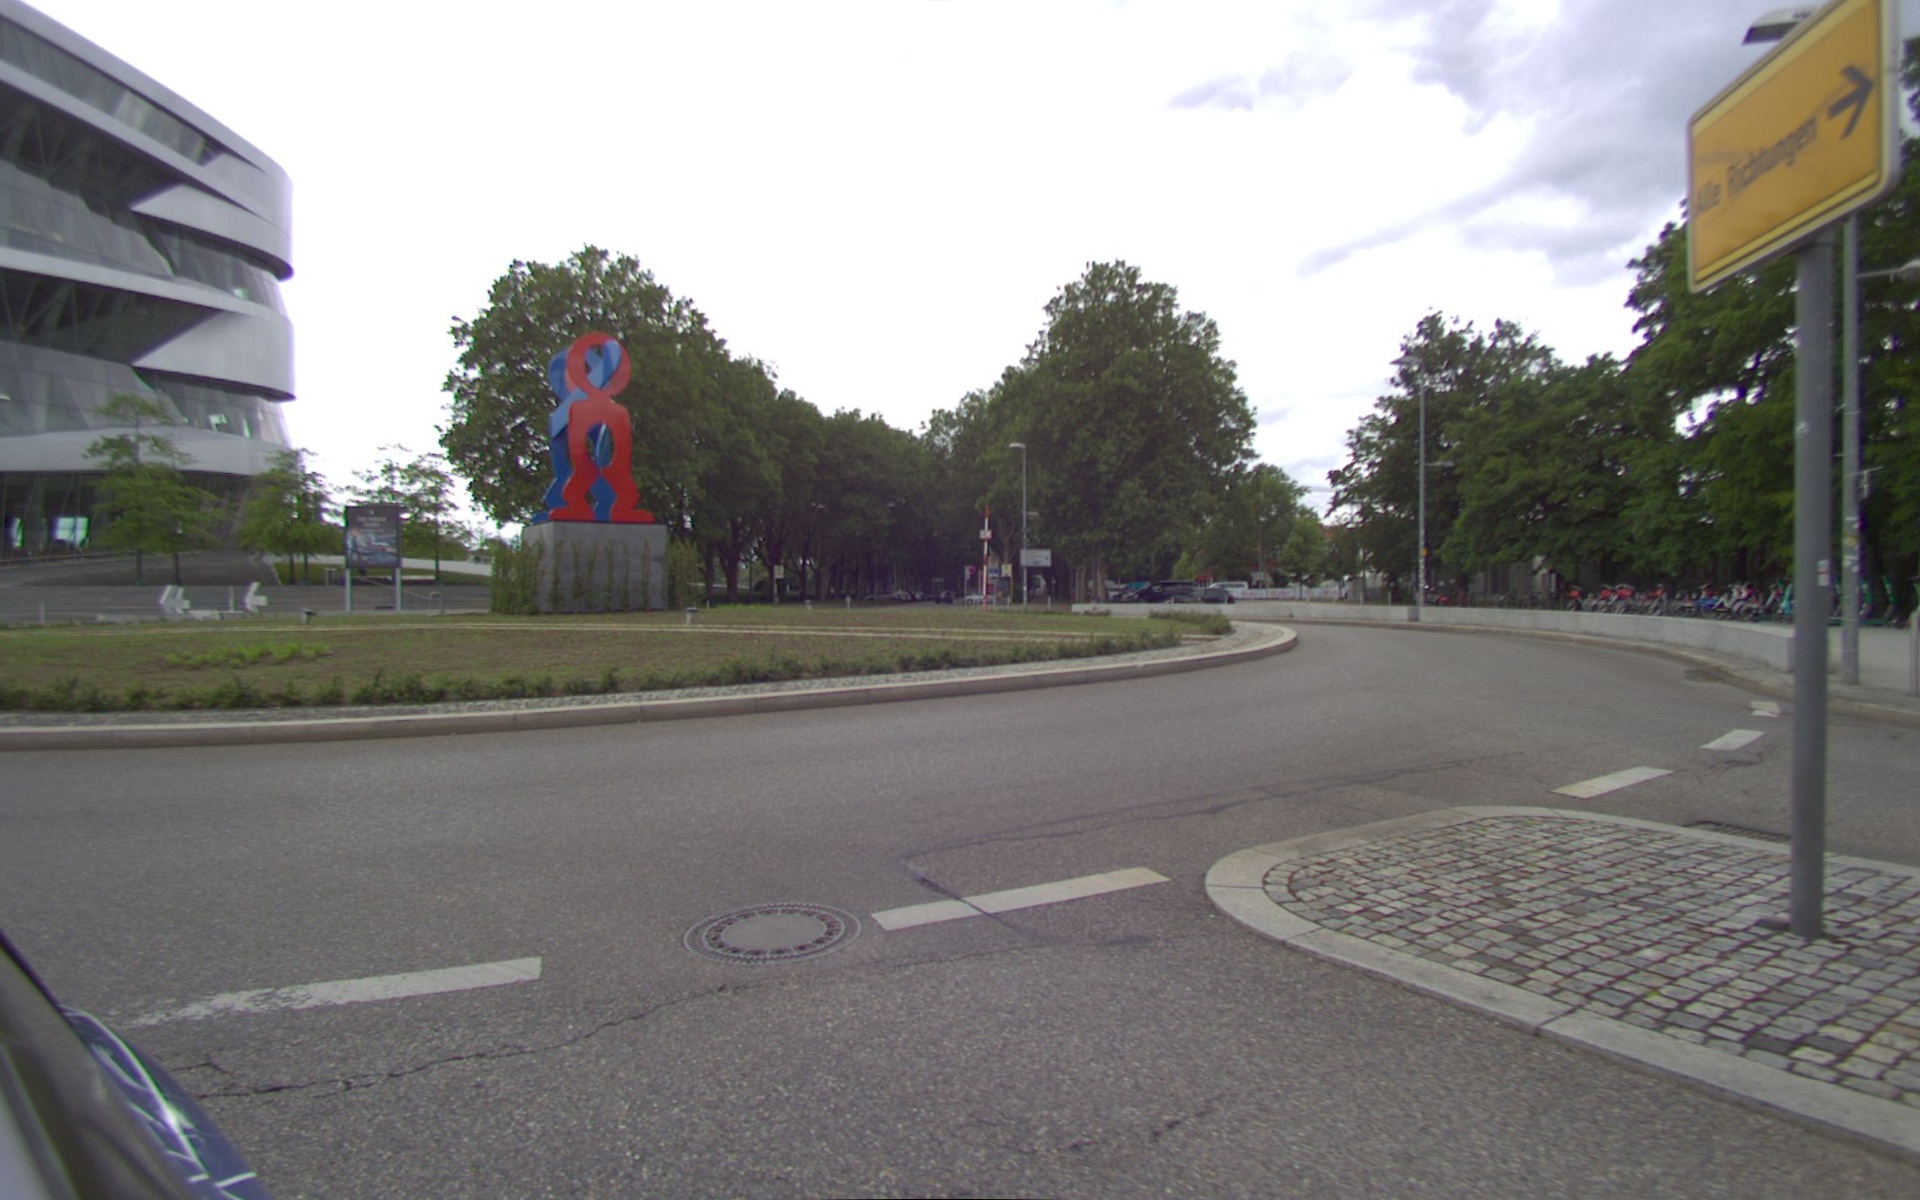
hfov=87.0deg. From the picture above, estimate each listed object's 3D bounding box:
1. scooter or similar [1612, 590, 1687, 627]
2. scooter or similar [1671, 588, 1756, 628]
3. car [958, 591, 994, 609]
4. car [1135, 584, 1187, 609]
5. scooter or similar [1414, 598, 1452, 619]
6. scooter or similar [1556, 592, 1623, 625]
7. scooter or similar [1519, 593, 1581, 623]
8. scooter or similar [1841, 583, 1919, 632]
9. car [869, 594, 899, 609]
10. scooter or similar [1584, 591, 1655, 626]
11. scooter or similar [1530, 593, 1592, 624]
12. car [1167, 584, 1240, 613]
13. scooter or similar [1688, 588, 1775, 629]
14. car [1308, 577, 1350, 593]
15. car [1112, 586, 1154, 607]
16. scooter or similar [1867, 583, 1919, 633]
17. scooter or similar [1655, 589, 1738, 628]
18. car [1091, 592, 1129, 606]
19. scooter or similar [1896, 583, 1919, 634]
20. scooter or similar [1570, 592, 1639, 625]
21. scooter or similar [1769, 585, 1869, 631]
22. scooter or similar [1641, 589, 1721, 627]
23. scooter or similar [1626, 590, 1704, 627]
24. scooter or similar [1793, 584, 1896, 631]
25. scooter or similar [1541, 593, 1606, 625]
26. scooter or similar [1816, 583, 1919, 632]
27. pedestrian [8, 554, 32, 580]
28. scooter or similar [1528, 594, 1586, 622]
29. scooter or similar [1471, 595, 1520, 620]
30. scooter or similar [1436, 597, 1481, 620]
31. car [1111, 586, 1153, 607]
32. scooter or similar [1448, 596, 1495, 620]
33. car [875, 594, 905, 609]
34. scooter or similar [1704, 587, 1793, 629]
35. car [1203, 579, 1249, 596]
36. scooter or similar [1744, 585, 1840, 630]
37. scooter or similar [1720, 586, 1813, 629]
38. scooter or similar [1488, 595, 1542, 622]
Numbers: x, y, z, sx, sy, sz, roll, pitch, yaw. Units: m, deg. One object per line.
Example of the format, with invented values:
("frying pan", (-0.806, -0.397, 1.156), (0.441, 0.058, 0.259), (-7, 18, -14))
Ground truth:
("scooter or similar", (22.403, 0.279, 32.906), (1.949, 1.117, 0.640), (-2, -1, 2))
("scooter or similar", (22.336, 0.245, 30.017), (1.949, 1.117, 0.640), (-2, -1, 2))
("car", (1.756, -0.028, 107.531), (3.666, 1.791, 1.667), (-2, -1, 6))
("car", (15.226, -0.262, 76.650), (3.666, 1.791, 1.667), (-2, -1, 6))
("scooter or similar", (25.993, 0.467, 55.597), (1.785, 1.103, 0.545), (-2, -1, 2))
("scooter or similar", (22.713, 0.313, 36.548), (1.949, 1.117, 0.640), (-2, -1, 2))
("scooter or similar", (23.074, 0.330, 39.594), (1.949, 1.113, 0.640), (-2, -1, 2))
("scooter or similar", (22.139, 0.171, 23.939), (1.949, 1.117, 0.640), (-2, -1, 2))
("car", (-9.105, 0.208, 121.172), (3.404, 1.697, 1.687), (-1, 1, 3))
("scooter or similar", (22.546, 0.298, 34.624), (1.949, 1.117, 0.640), (-2, -1, 2))
("scooter or similar", (23.045, 0.333, 38.818), (1.949, 1.117, 0.640), (-2, -1, 2))
("car", (13.964, -0.052, 58.289), (3.776, 1.536, 1.777), (-2, -1, 4))
("scooter or similar", (22.318, 0.236, 29.307), (1.949, 1.117, 0.640), (-2, -1, 2))
("car", (40.744, -1.631, 111.684), (3.903, 1.664, 1.795), (-2, -1, 3))
("car", (15.935, -0.334, 93.203), (3.672, 1.791, 1.665), (-2, -1, 11))
("scooter or similar", (22.132, 0.167, 23.237), (1.949, 1.117, 0.640), (-2, -1, 2))
("scooter or similar", (22.350, 0.258, 30.729), (1.949, 1.117, 0.640), (-2, -1, 2))
("car", (16.818, -0.109, 113.340), (3.968, 1.530, 1.864), (-2, -1, 14))
("scooter or similar", (22.106, 0.155, 22.474), (1.949, 1.117, 0.640), (-2, -1, 2))
("scooter or similar", (22.594, 0.303, 35.513), (1.949, 1.117, 0.640), (-2, -1, 2))
("scooter or similar", (22.230, 0.201, 26.224), (1.949, 1.117, 0.640), (-2, -1, 2))
("scooter or similar", (22.384, 0.263, 31.456), (1.949, 1.117, 0.640), (-2, -1, 2))
("scooter or similar", (22.402, 0.271, 32.185), (1.949, 1.117, 0.640), (-2, -1, 2))
("scooter or similar", (22.196, 0.187, 25.416), (1.949, 1.117, 0.640), (-2, -1, 2))
("scooter or similar", (22.736, 0.329, 37.522), (1.949, 1.117, 0.640), (-2, -1, 2))
("scooter or similar", (22.144, 0.179, 24.649), (1.949, 1.117, 0.640), (-2, -1, 2))
("pedestrian", (-71.507, -2.522, 76.992), (0.843, 1.938, 0.950), (-2, 3, 9))
("scooter or similar", (24.590, 0.328, 41.683), (1.949, 1.117, 0.640), (-2, -1, 2))
("scooter or similar", (25.558, 0.370, 48.319), (1.949, 1.117, 0.640), (-2, -1, 2))
("scooter or similar", (25.764, 0.428, 52.337), (1.949, 1.117, 0.640), (-2, -1, 2))
("car", (15.512, -0.299, 91.299), (3.673, 1.791, 1.664), (-2, -1, 12))
("scooter or similar", (25.422, 0.413, 50.280), (1.949, 1.117, 0.640), (-2, -1, 2))
("car", (-8.668, 0.180, 125.823), (3.416, 1.862, 1.681), (-1, 1, 14))
("scooter or similar", (22.290, 0.230, 28.629), (1.949, 1.117, 0.640), (-2, -1, 2))
("car", (28.841, -1.362, 109.796), (4.377, 1.664, 1.795), (-2, -1, 3))
("scooter or similar", (22.250, 0.207, 27.095), (1.949, 1.117, 0.640), (-2, -1, 2))
("scooter or similar", (22.255, 0.222, 27.953), (1.949, 1.117, 0.640), (-2, -1, 2))
("scooter or similar", (24.130, 0.364, 44.042), (1.949, 1.117, 0.640), (-2, -1, 2))
